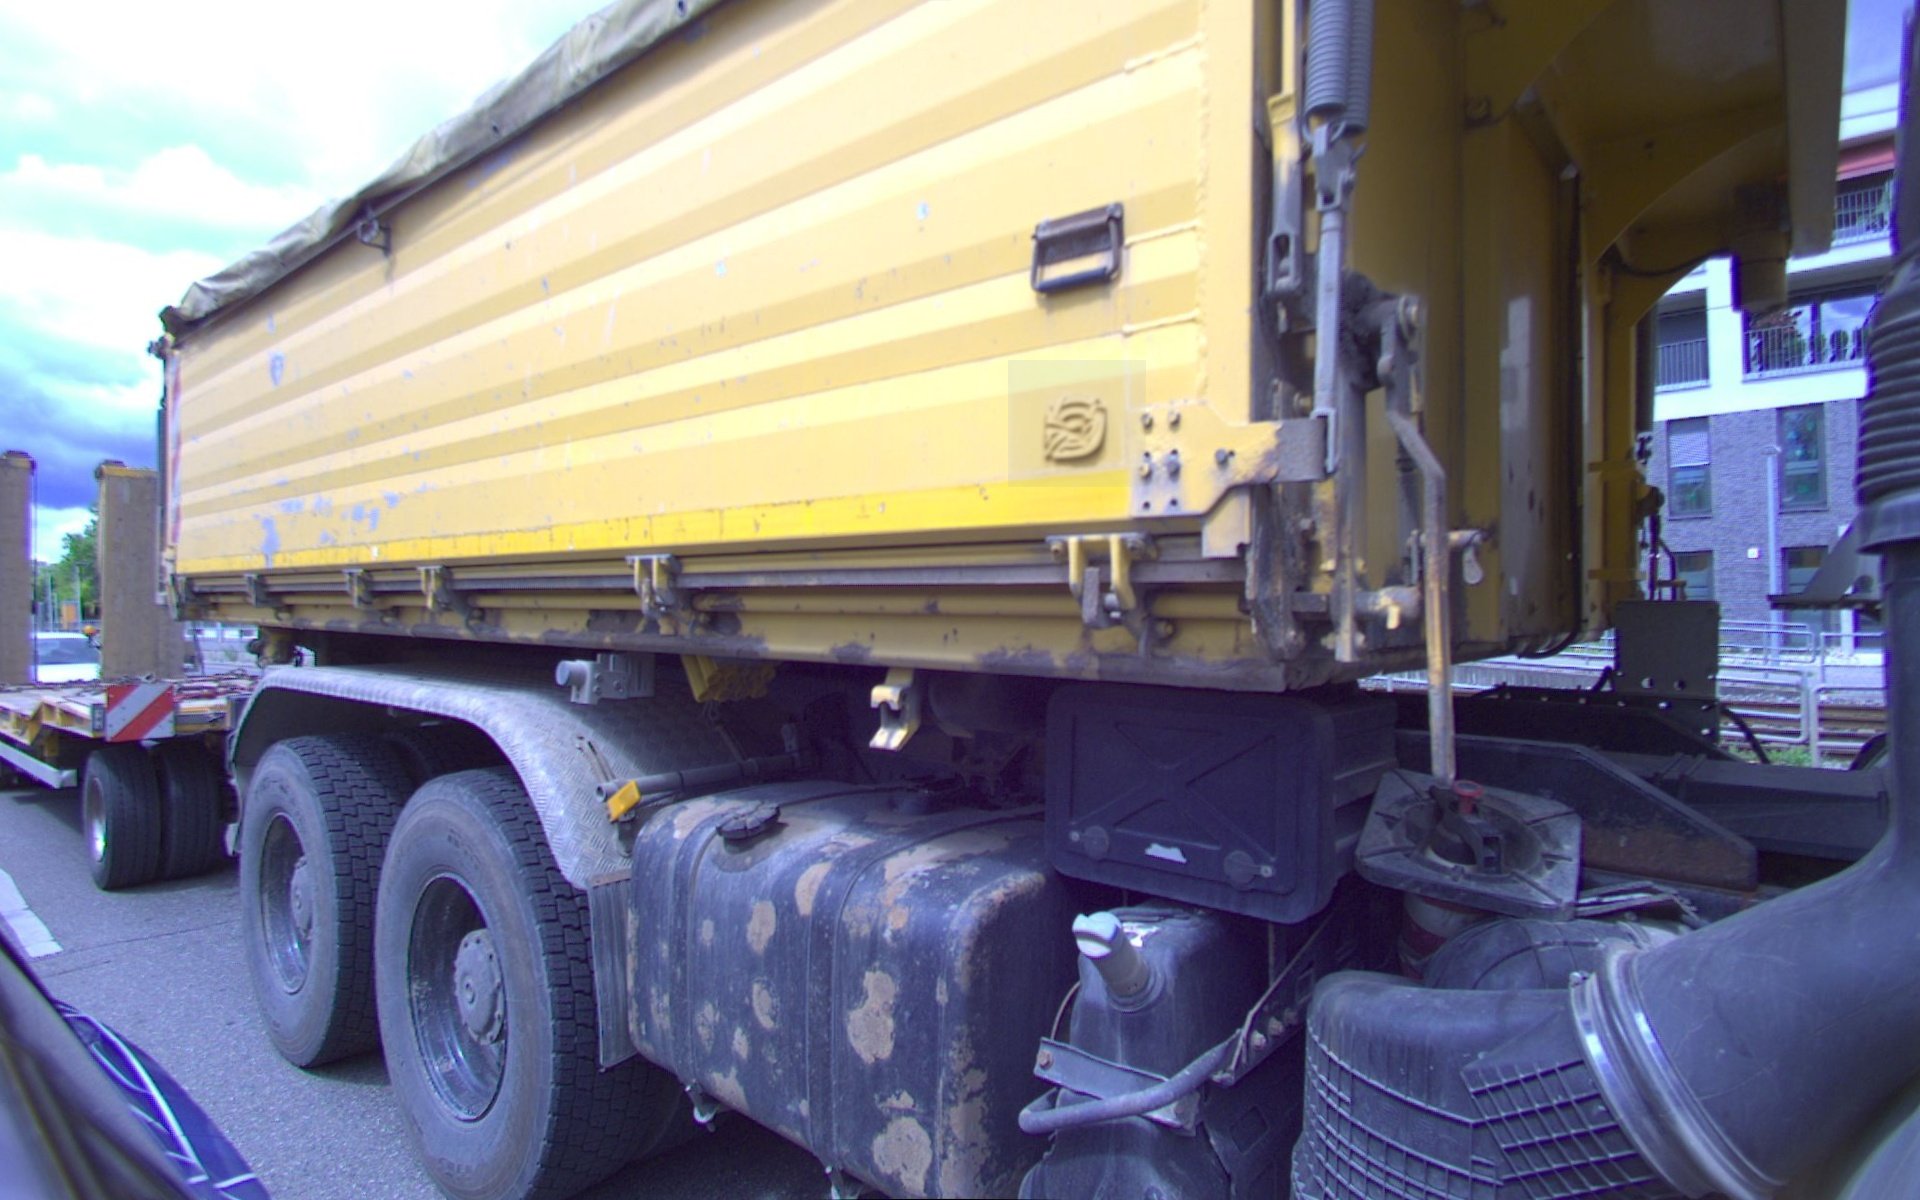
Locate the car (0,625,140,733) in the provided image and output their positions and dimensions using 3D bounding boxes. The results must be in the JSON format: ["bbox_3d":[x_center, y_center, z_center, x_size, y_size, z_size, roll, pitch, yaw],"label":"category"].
[{"bbox_3d":[-13.981,1.128,15.383,3.784,1.427,1.761,-2,-1,41],"label":"car"}]

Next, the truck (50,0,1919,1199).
[{"bbox_3d":[0.171,-0.228,2.870,7.999,3.420,3.019,-2,-1,40],"label":"truck"}]

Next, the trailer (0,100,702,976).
[{"bbox_3d":[-6.855,-0.143,9.014,10.957,3.726,3.018,-2,-1,40],"label":"trailer"}]
